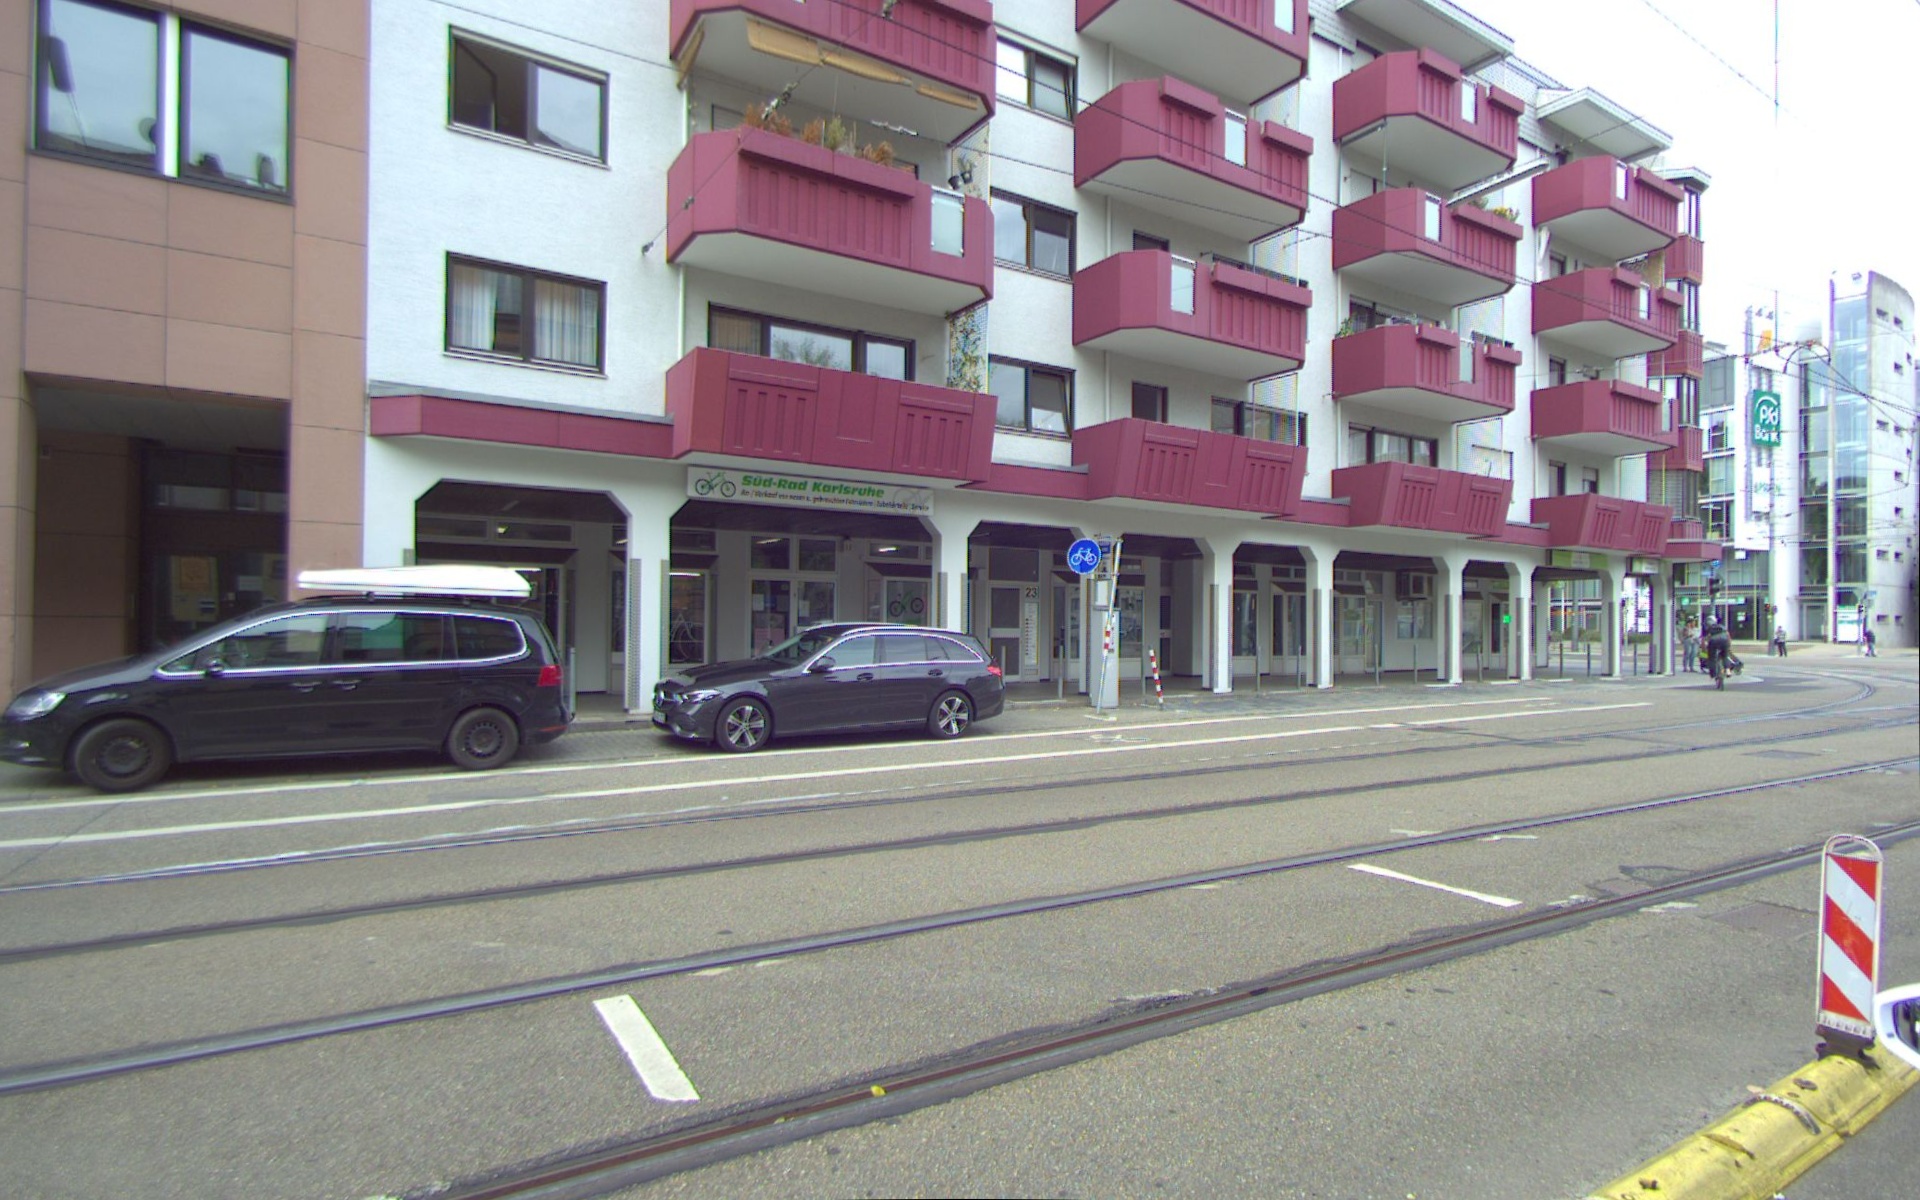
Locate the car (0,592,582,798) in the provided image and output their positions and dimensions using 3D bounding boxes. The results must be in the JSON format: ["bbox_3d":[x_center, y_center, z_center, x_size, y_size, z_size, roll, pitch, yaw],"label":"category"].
[{"bbox_3d":[-6.470,0.818,10.242,4.645,1.669,1.797,1,1,-32],"label":"car"}]

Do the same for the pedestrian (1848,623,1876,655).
[{"bbox_3d":[55.020,2.375,61.246,0.889,1.880,0.987,1,-1,-23],"label":"pedestrian"}]

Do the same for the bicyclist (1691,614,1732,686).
[{"bbox_3d":[18.164,1.193,24.301,0.740,1.673,1.052,0,-1,35],"label":"bicyclist"}]

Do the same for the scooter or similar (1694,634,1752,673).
[{"bbox_3d":[23.910,1.665,31.485,0.936,1.143,1.189,1,0,-32],"label":"scooter or similar"}]

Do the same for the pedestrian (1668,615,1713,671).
[{"bbox_3d":[23.424,1.368,32.224,0.803,1.766,0.942,1,-1,-33],"label":"pedestrian"}]

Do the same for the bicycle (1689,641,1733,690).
[{"bbox_3d":[18.090,1.546,24.221,0.752,1.101,2.354,0,-1,34],"label":"bicycle"}]

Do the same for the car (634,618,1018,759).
[{"bbox_3d":[-1.647,1.029,13.053,4.645,1.500,1.745,1,1,-32],"label":"car"}]

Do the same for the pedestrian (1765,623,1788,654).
[{"bbox_3d":[49.418,2.330,60.793,0.754,1.889,0.833,1,-1,-17],"label":"pedestrian"}]

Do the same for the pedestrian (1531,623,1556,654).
[{"bbox_3d":[31.503,2.068,54.234,0.753,1.693,0.935,1,-1,-17],"label":"pedestrian"}]

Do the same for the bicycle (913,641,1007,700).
[{"bbox_3d":[0.011,1.196,17.350,1.636,0.966,0.560,1,-1,-39],"label":"bicycle"}]
